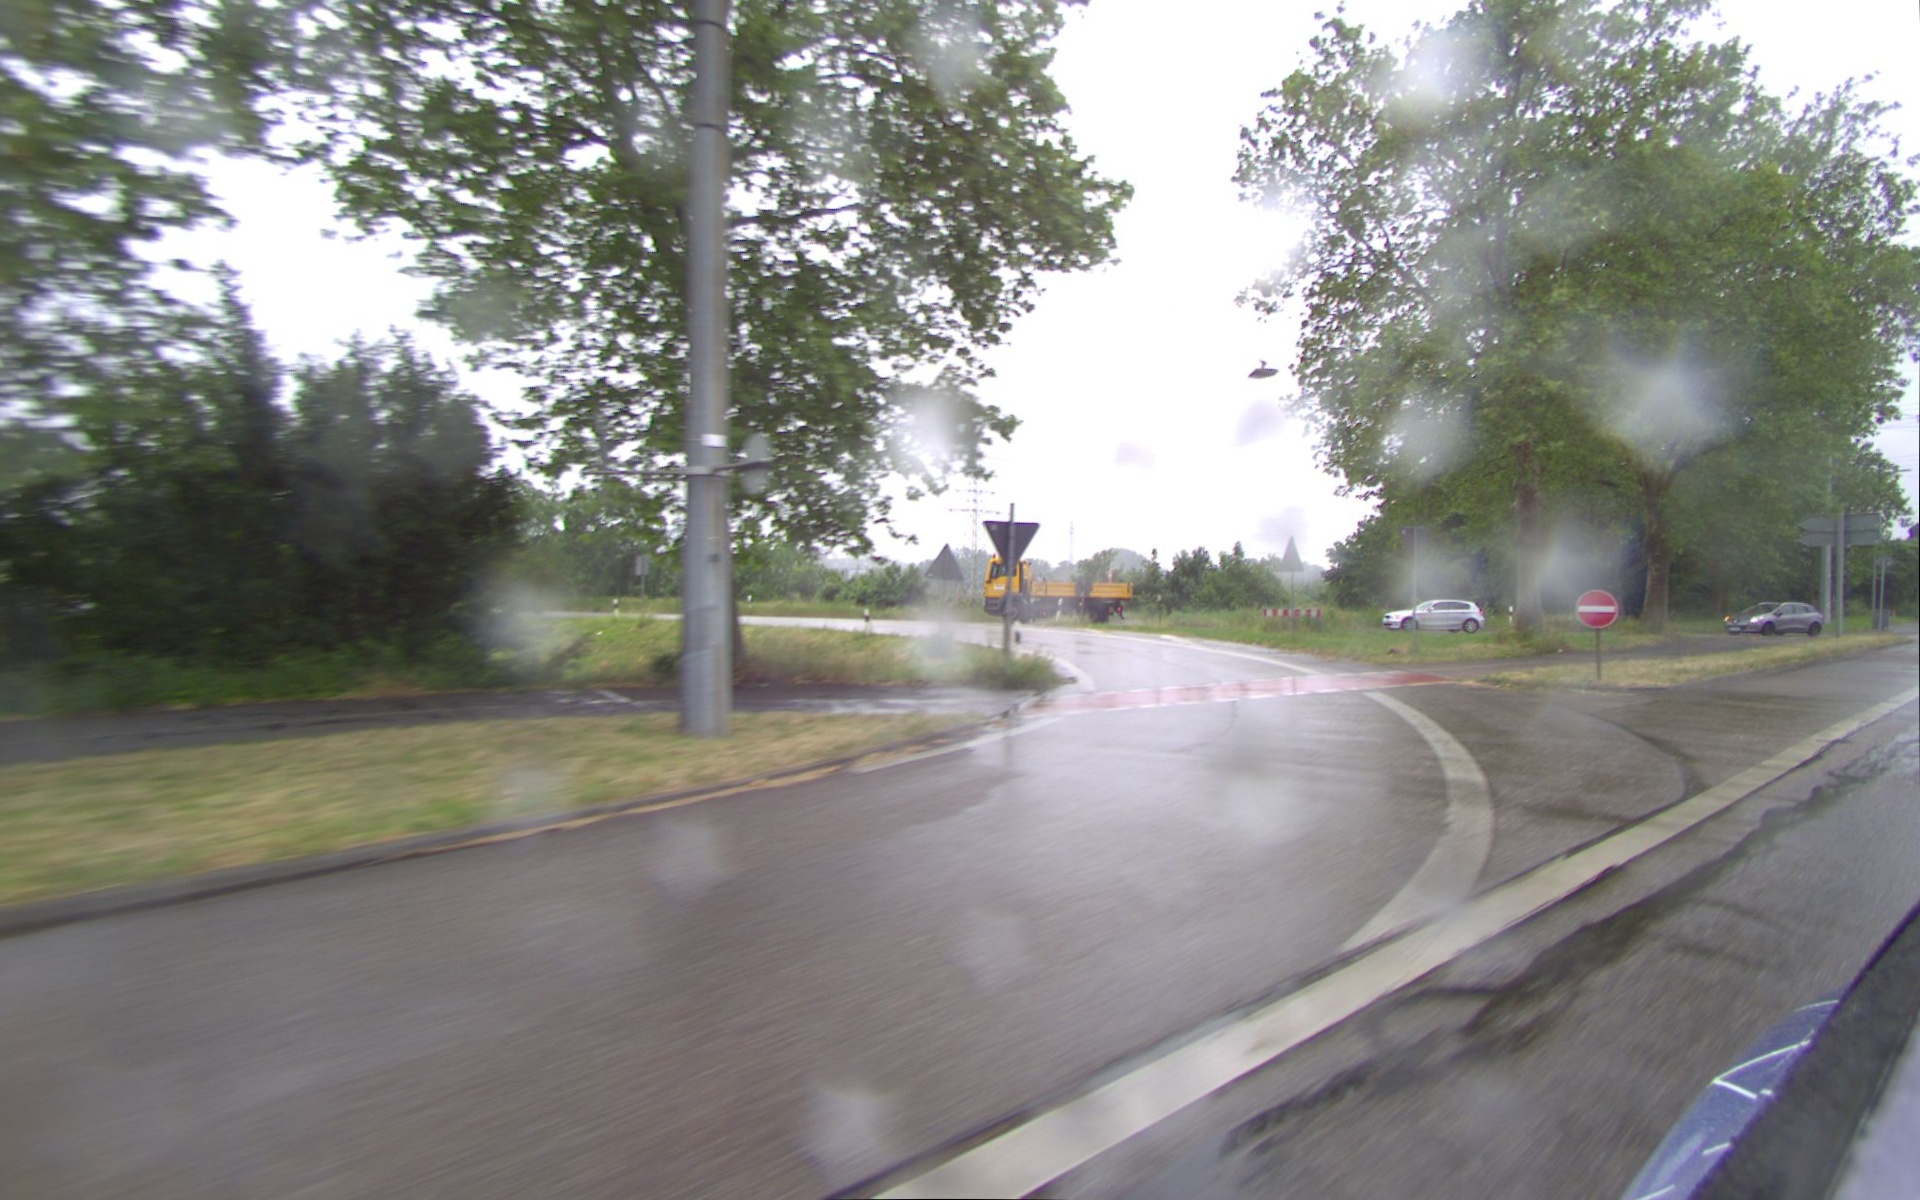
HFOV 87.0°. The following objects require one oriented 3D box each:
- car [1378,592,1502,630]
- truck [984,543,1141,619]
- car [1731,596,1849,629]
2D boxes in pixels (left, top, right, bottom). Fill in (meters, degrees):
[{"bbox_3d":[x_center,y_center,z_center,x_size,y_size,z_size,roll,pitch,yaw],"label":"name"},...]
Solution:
[{"bbox_3d":[20.616,0.465,43.603,4.523,1.522,1.629,1,-1,4],"label":"car"},{"bbox_3d":[4.706,-0.835,46.255,6.834,3.299,2.551,1,-1,16],"label":"truck"},{"bbox_3d":[36.134,0.555,44.080,4.187,1.374,1.897,1,-1,-16],"label":"car"}]
